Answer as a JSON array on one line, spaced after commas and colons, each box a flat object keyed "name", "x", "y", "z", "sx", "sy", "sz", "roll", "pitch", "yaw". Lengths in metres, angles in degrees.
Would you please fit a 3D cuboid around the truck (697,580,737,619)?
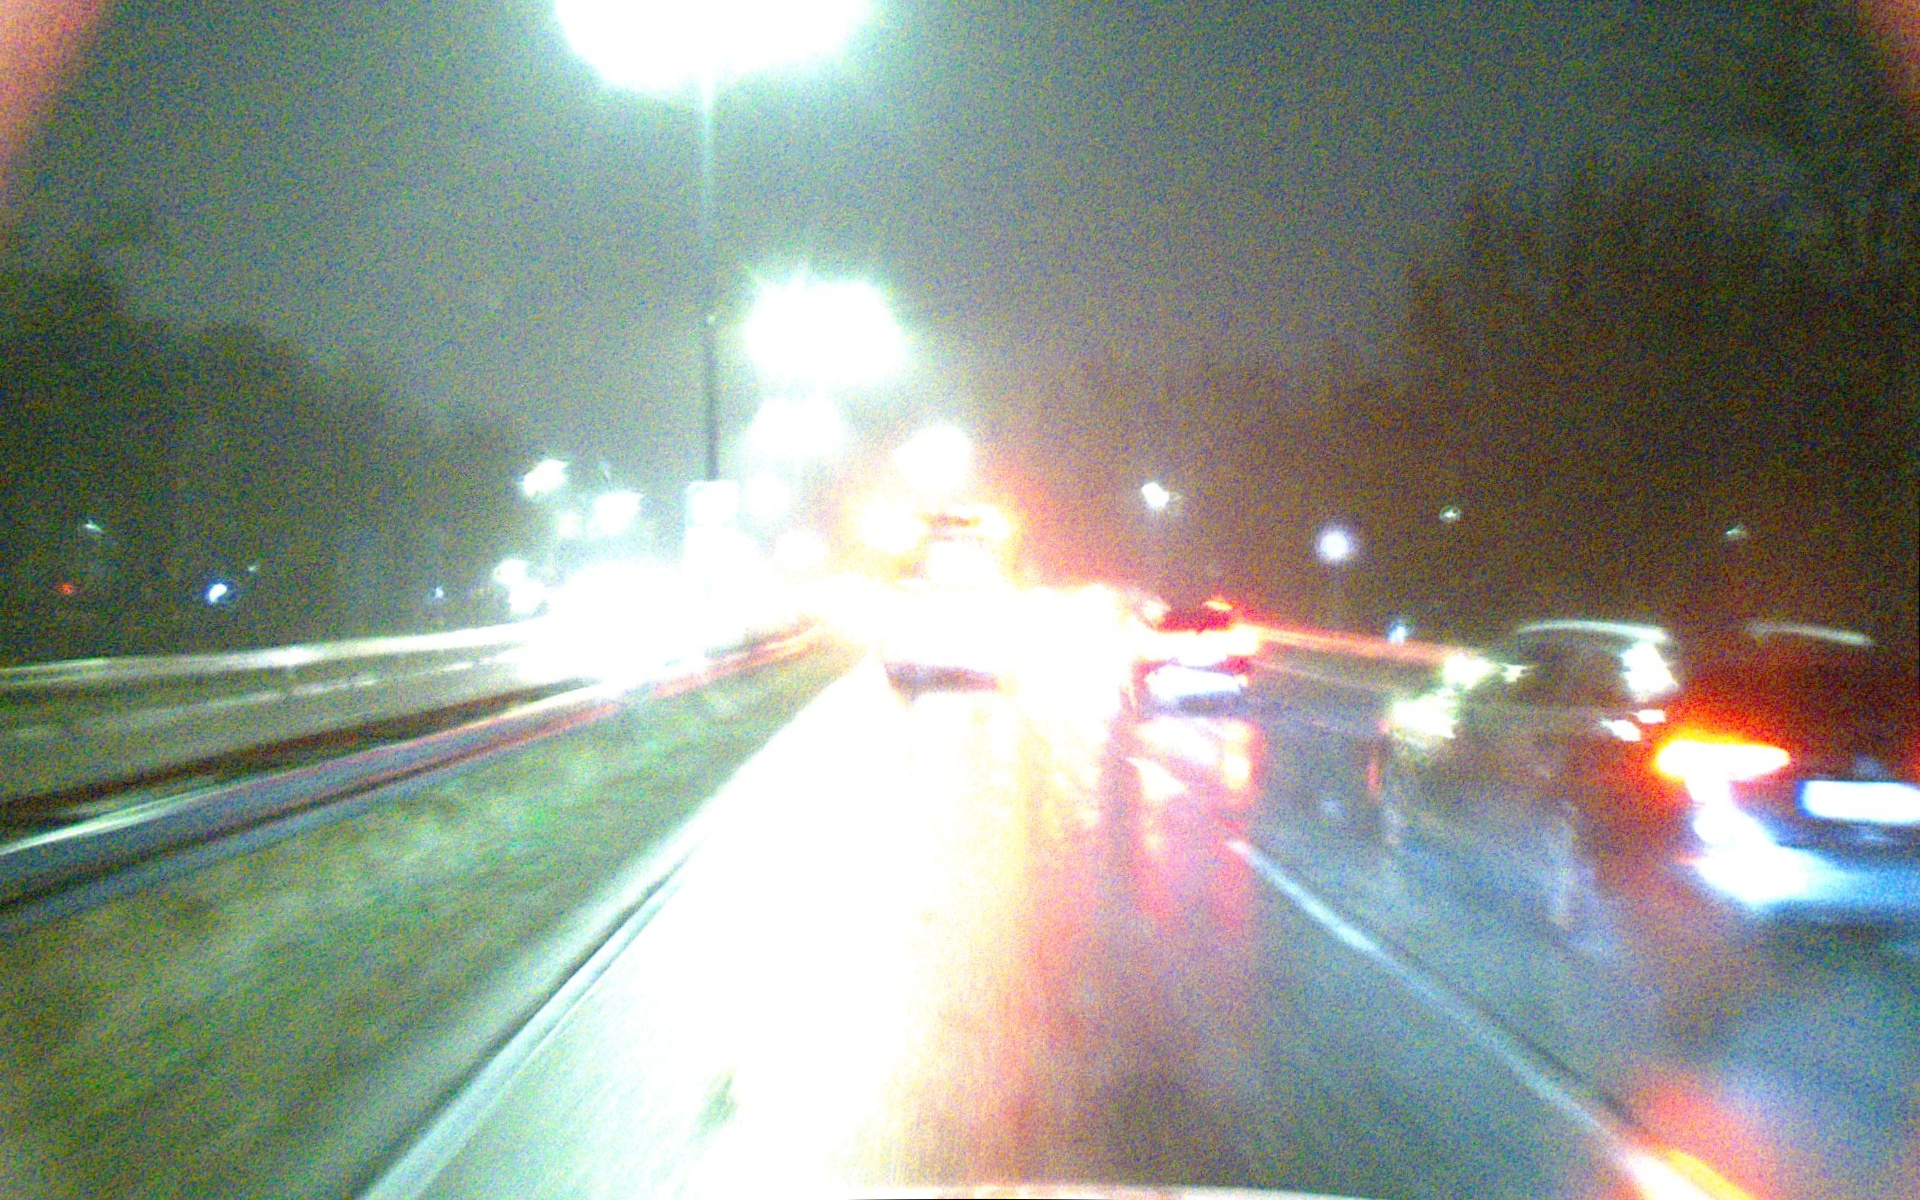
[{"name": "truck", "x": -16.927, "y": -0.049, "z": 115.122, "sx": 1.829, "sy": 2.434, "sz": 4.752, "roll": -2, "pitch": 3, "yaw": -20}]

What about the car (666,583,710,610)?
[{"name": "car", "x": -21.067, "y": -0.273, "z": 127.898, "sx": 1.974, "sy": 2.049, "sz": 3.957, "roll": 2, "pitch": -1, "yaw": -32}]

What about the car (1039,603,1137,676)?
[{"name": "car", "x": 2.982, "y": 0.891, "z": 39.238, "sx": 1.784, "sy": 1.618, "sz": 3.774, "roll": 0, "pitch": 0, "yaw": -4}]

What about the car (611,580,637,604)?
[{"name": "car", "x": -29.866, "y": -0.718, "z": 147.019, "sx": 2.085, "sy": 2.049, "sz": 3.986, "roll": 2, "pitch": -1, "yaw": -13}]

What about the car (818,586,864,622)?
[{"name": "car", "x": -7.045, "y": 0.266, "z": 97.779, "sx": 1.960, "sy": 2.049, "sz": 3.984, "roll": 2, "pitch": -1, "yaw": -15}]

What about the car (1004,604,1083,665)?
[{"name": "car", "x": 2.314, "y": 0.945, "z": 46.679, "sx": 1.784, "sy": 1.618, "sz": 3.774, "roll": 0, "pitch": 0, "yaw": -4}]

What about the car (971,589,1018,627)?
[{"name": "car", "x": 1.451, "y": 0.324, "z": 71.003, "sx": 1.744, "sy": 1.570, "sz": 3.873, "roll": 1, "pitch": 0, "yaw": -2}]

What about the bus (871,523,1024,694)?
[{"name": "bus", "x": -0.401, "y": 0.163, "z": 34.568, "sx": 2.759, "sy": 3.077, "sz": 8.683, "roll": 1, "pitch": 0, "yaw": -2}]

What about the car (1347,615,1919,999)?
[{"name": "car", "x": 3.579, "y": 0.854, "z": 8.938, "sx": 1.697, "sy": 1.474, "sz": 4.723, "roll": 1, "pitch": 0, "yaw": -2}]

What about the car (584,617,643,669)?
[{"name": "car", "x": -14.134, "y": 1.727, "z": 67.632, "sx": 1.955, "sy": 2.049, "sz": 3.994, "roll": 1, "pitch": -1, "yaw": -7}]

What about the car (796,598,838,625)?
[{"name": "car", "x": -9.213, "y": 0.713, "z": 106.294, "sx": 1.727, "sy": 1.659, "sz": 3.598, "roll": 2, "pitch": -1, "yaw": -22}]

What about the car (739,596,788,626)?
[{"name": "car", "x": -13.671, "y": 0.736, "z": 114.687, "sx": 2.185, "sy": 2.049, "sz": 3.966, "roll": 0, "pitch": 0, "yaw": -26}]

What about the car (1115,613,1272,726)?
[{"name": "car", "x": 3.583, "y": 1.026, "z": 25.989, "sx": 1.705, "sy": 1.592, "sz": 3.774, "roll": 1, "pitch": 0, "yaw": -4}]

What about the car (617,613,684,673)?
[{"name": "car", "x": -9.183, "y": 1.232, "z": 49.301, "sx": 1.589, "sy": 1.680, "sz": 3.995, "roll": -1, "pitch": 0, "yaw": -6}]

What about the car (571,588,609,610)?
[{"name": "car", "x": -31.659, "y": -0.093, "z": 141.525, "sx": 1.973, "sy": 1.715, "sz": 3.959, "roll": 3, "pitch": 1, "yaw": -31}]
